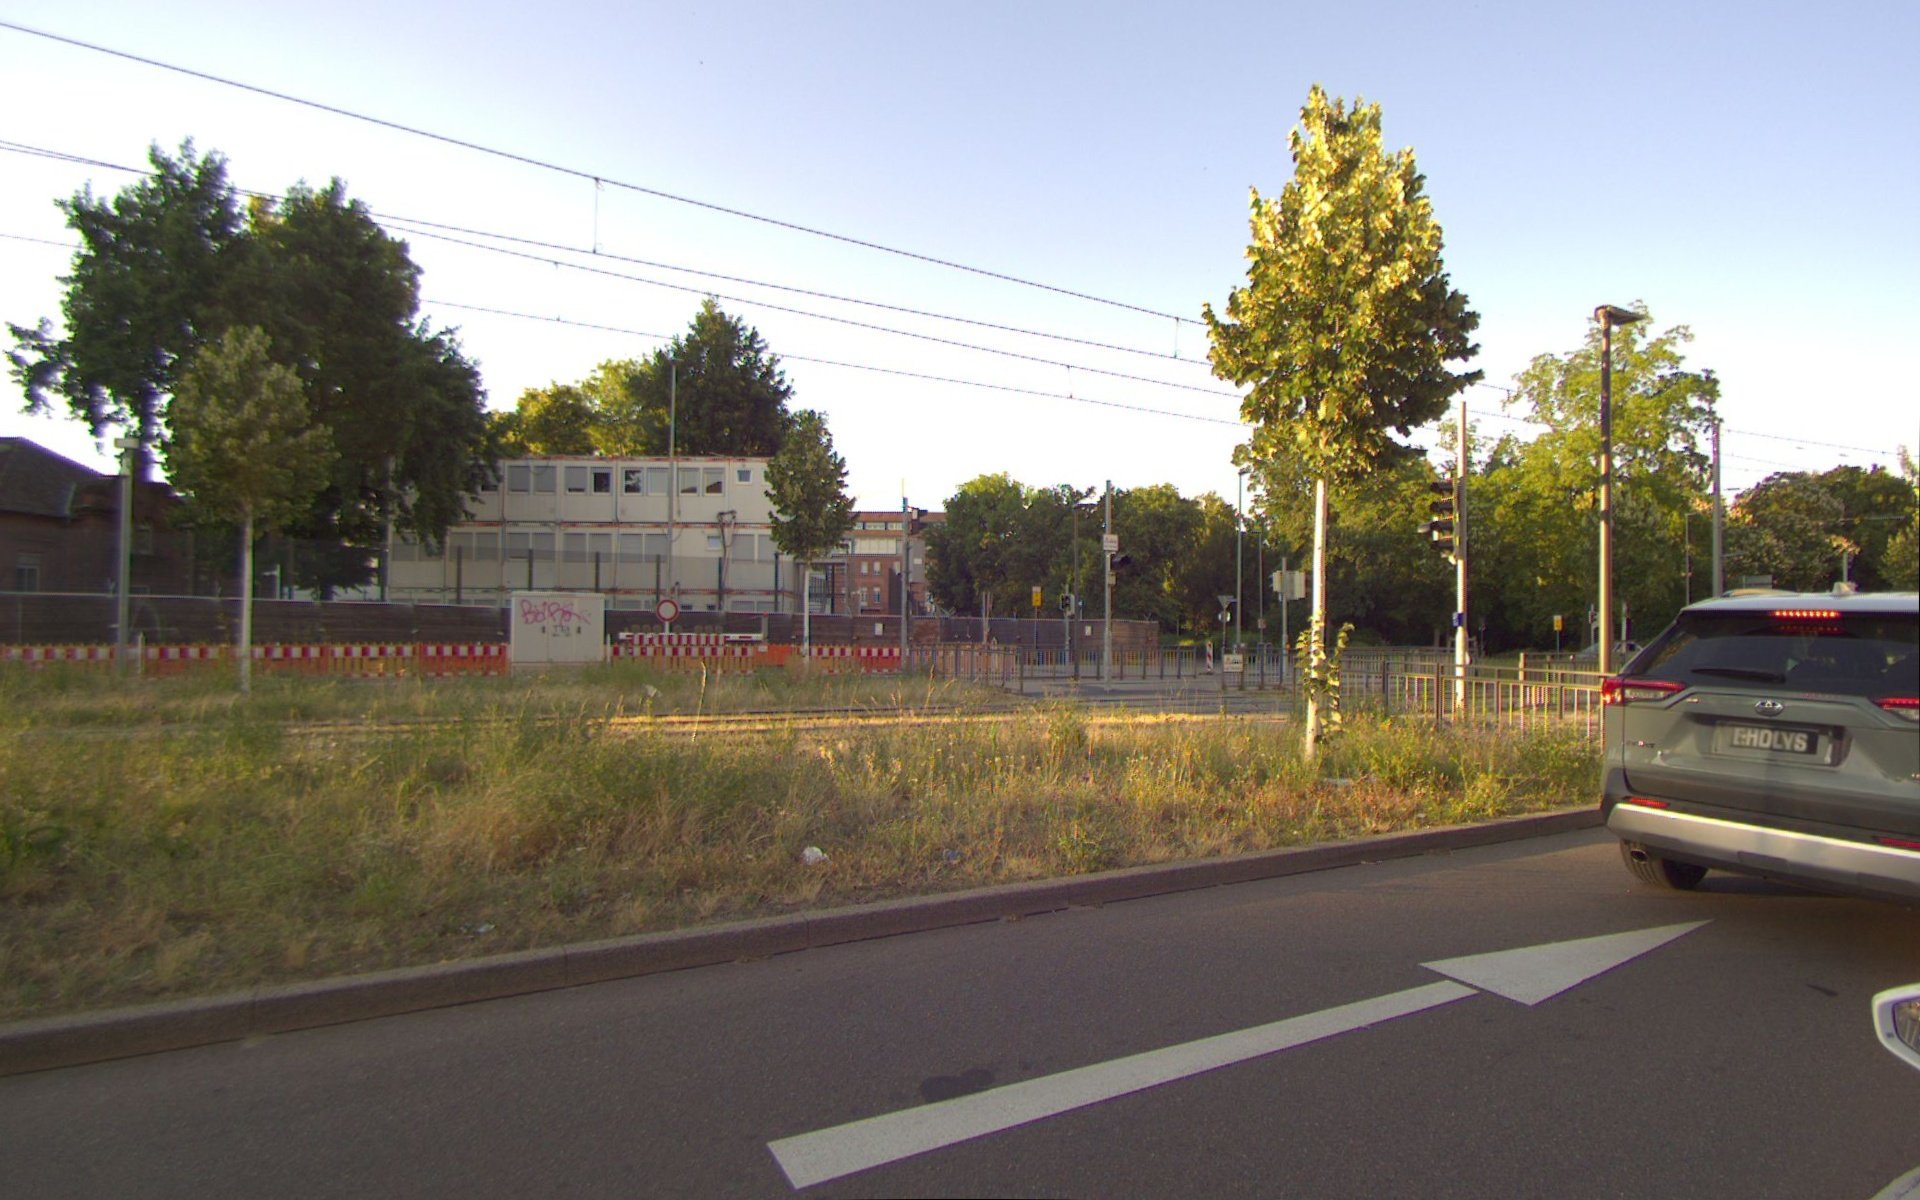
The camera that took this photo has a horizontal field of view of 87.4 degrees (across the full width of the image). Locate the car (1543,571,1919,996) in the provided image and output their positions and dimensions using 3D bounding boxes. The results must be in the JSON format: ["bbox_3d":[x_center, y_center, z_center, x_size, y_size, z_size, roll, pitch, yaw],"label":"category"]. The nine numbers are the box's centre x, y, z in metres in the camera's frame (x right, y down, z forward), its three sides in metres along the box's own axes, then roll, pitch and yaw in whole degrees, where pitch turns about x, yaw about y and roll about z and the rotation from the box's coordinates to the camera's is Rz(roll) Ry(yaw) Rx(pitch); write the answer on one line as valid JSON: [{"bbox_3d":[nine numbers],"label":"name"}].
[{"bbox_3d":[5.316,0.733,5.547,4.219,1.681,1.845,0,0,-31],"label":"car"}]

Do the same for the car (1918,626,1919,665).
[{"bbox_3d":[56.060,2.566,56.750,4.703,2.197,1.980,0,0,-36],"label":"car"}]
